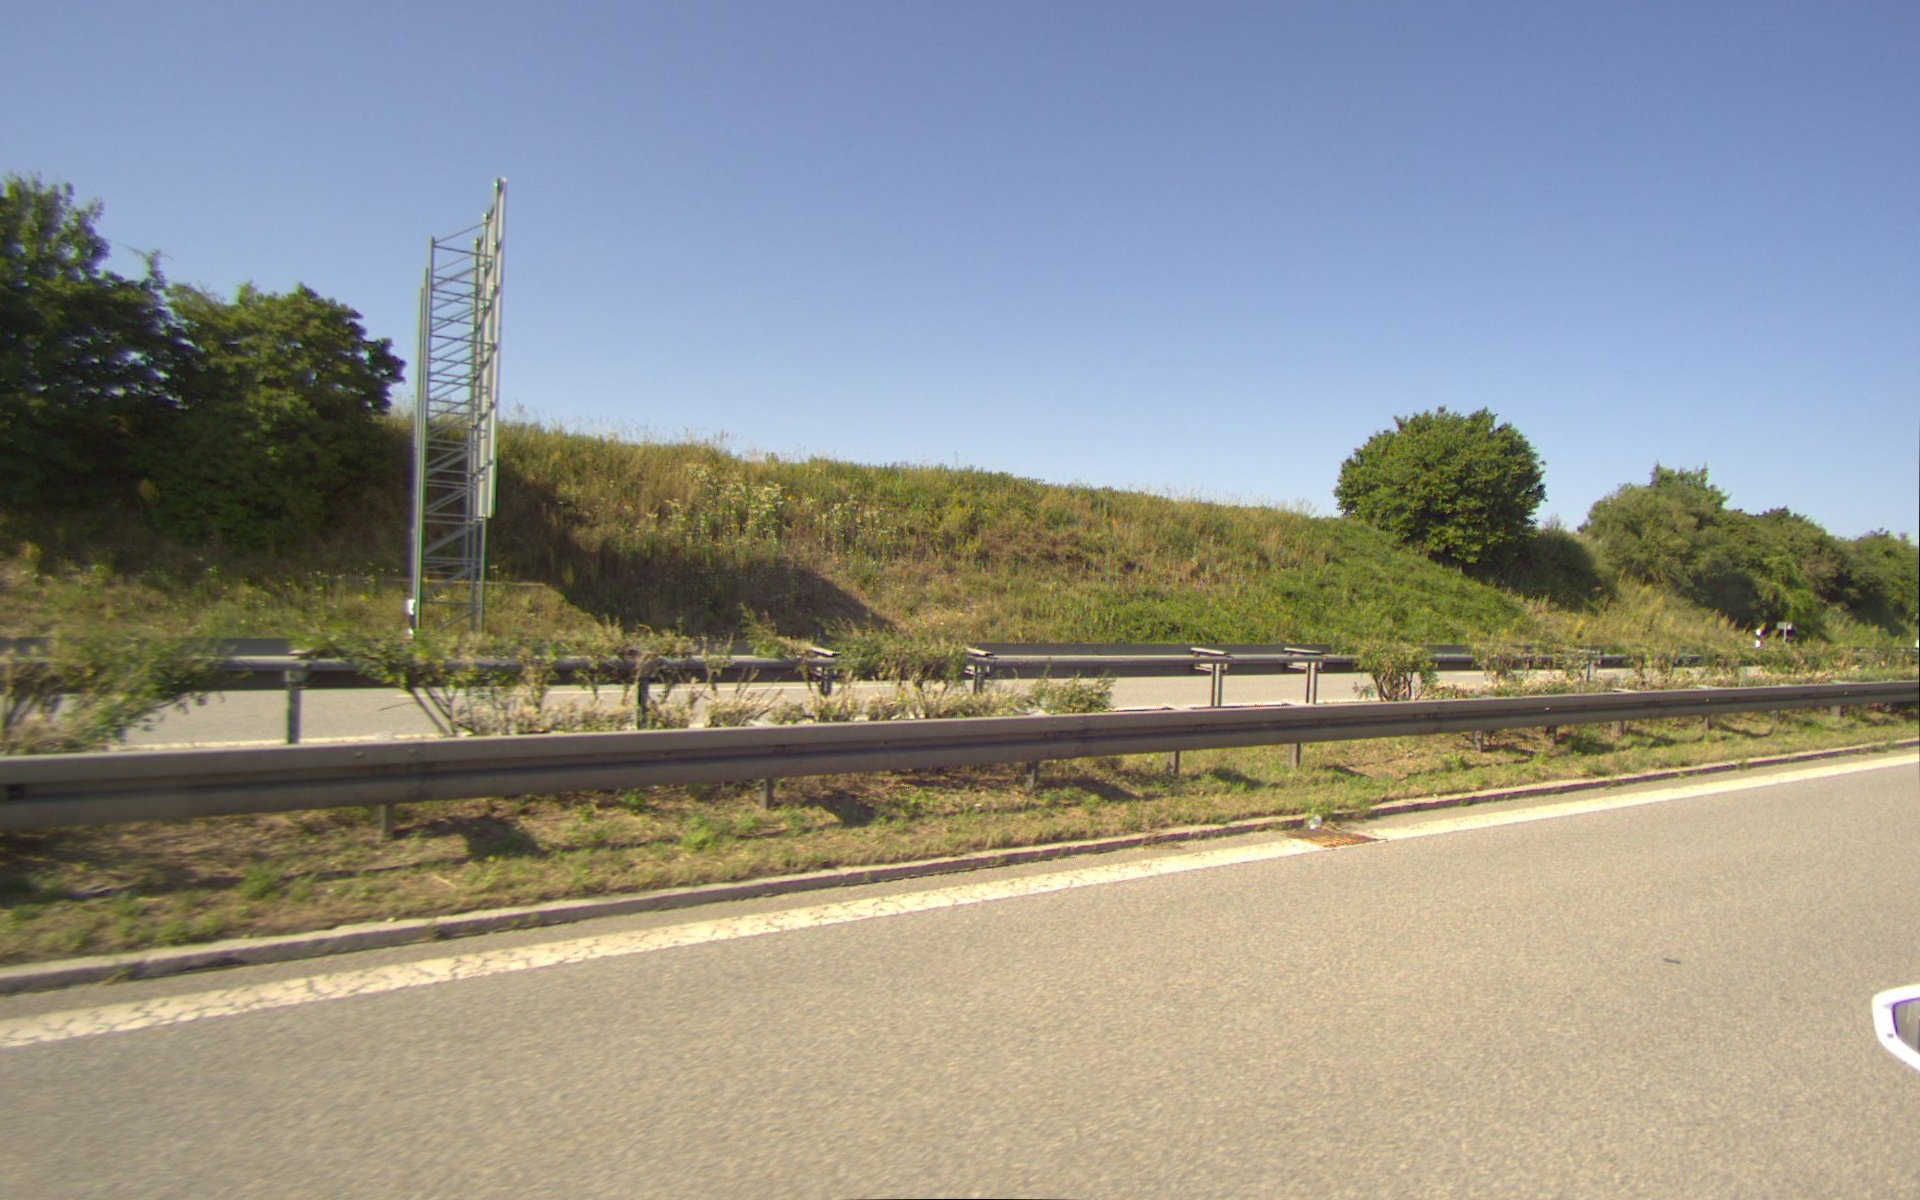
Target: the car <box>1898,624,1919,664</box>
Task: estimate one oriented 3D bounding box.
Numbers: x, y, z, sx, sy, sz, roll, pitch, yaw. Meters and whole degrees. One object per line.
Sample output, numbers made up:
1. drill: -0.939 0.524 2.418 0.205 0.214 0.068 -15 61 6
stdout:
1. car: 41.172 1.874 41.936 3.953 1.620 1.847 2 0 -30
